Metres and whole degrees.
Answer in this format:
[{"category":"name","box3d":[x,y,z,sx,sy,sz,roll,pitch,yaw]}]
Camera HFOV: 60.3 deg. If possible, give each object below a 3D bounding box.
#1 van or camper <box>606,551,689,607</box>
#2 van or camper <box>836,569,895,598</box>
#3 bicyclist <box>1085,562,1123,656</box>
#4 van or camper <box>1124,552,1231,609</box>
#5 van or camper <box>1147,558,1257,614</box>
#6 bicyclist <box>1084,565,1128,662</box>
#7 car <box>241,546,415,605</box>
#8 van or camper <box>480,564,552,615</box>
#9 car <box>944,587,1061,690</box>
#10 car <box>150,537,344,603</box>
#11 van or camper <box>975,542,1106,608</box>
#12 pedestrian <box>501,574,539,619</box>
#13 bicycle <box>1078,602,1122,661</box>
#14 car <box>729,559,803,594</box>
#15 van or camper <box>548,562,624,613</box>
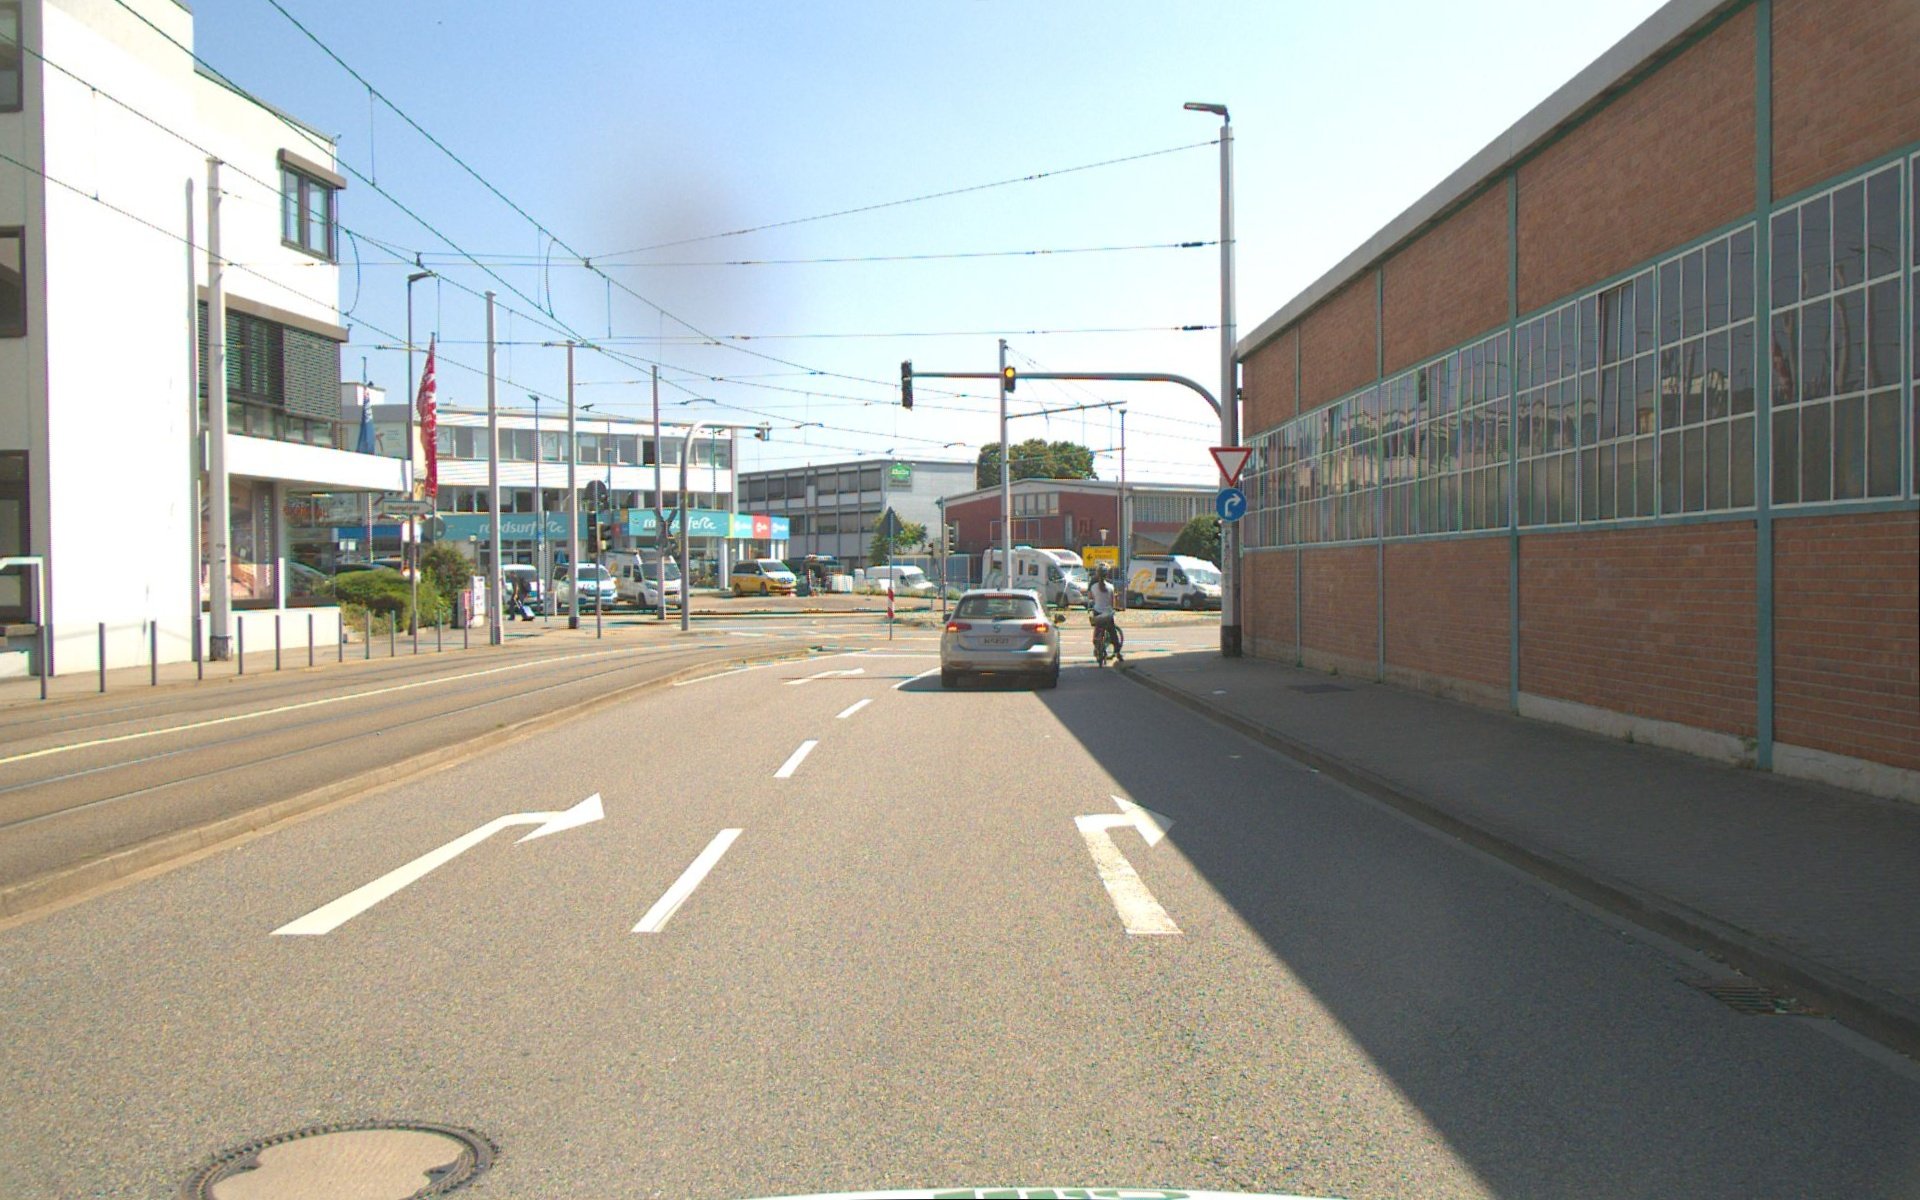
[{"category":"van or camper","box3d":[-14.342,-0.994,75.642,2.010,2.336,5.755,-2,3,-30]},{"category":"van or camper","box3d":[-6.600,-1.119,115.287,3.932,1.982,1.987,0,1,44]},{"category":"bicyclist","box3d":[2.847,0.166,32.761,0.693,1.842,0.983,0,0,2]},{"category":"van or camper","box3d":[10.766,-1.029,82.164,2.264,2.482,5.319,-2,5,-36]},{"category":"van or camper","box3d":[12.518,-0.765,86.018,2.264,2.656,5.818,-2,3,-36]},{"category":"bicyclist","box3d":[2.698,0.238,30.611,0.769,1.752,1.147,0,0,3]},{"category":"car","box3d":[-17.109,-0.683,44.894,3.904,1.545,2.001,0,3,2]},{"category":"van or camper","box3d":[-19.835,-0.527,73.786,1.973,2.048,4.716,-2,3,-30]},{"category":"car","box3d":[0.715,0.548,26.164,1.710,1.484,4.002,0,0,3]},{"category":"car","box3d":[-17.553,-0.729,40.843,3.904,1.590,2.001,0,0,2]},{"category":"van or camper","box3d":[3.896,-1.291,81.267,2.334,2.981,6.880,-2,4,-42]},{"category":"pedestrian","box3d":[-14.491,-0.115,54.469,1.109,1.480,0.836,-1,0,-10]},{"category":"bicycle","box3d":[2.604,0.572,30.920,0.777,1.039,2.152,0,1,4]},{"category":"car","box3d":[-10.540,-1.252,89.426,1.921,1.790,5.063,-1,1,-33]},{"category":"van or camper","box3d":[-16.817,-0.610,74.173,1.973,2.048,4.961,-2,3,-30]}]
